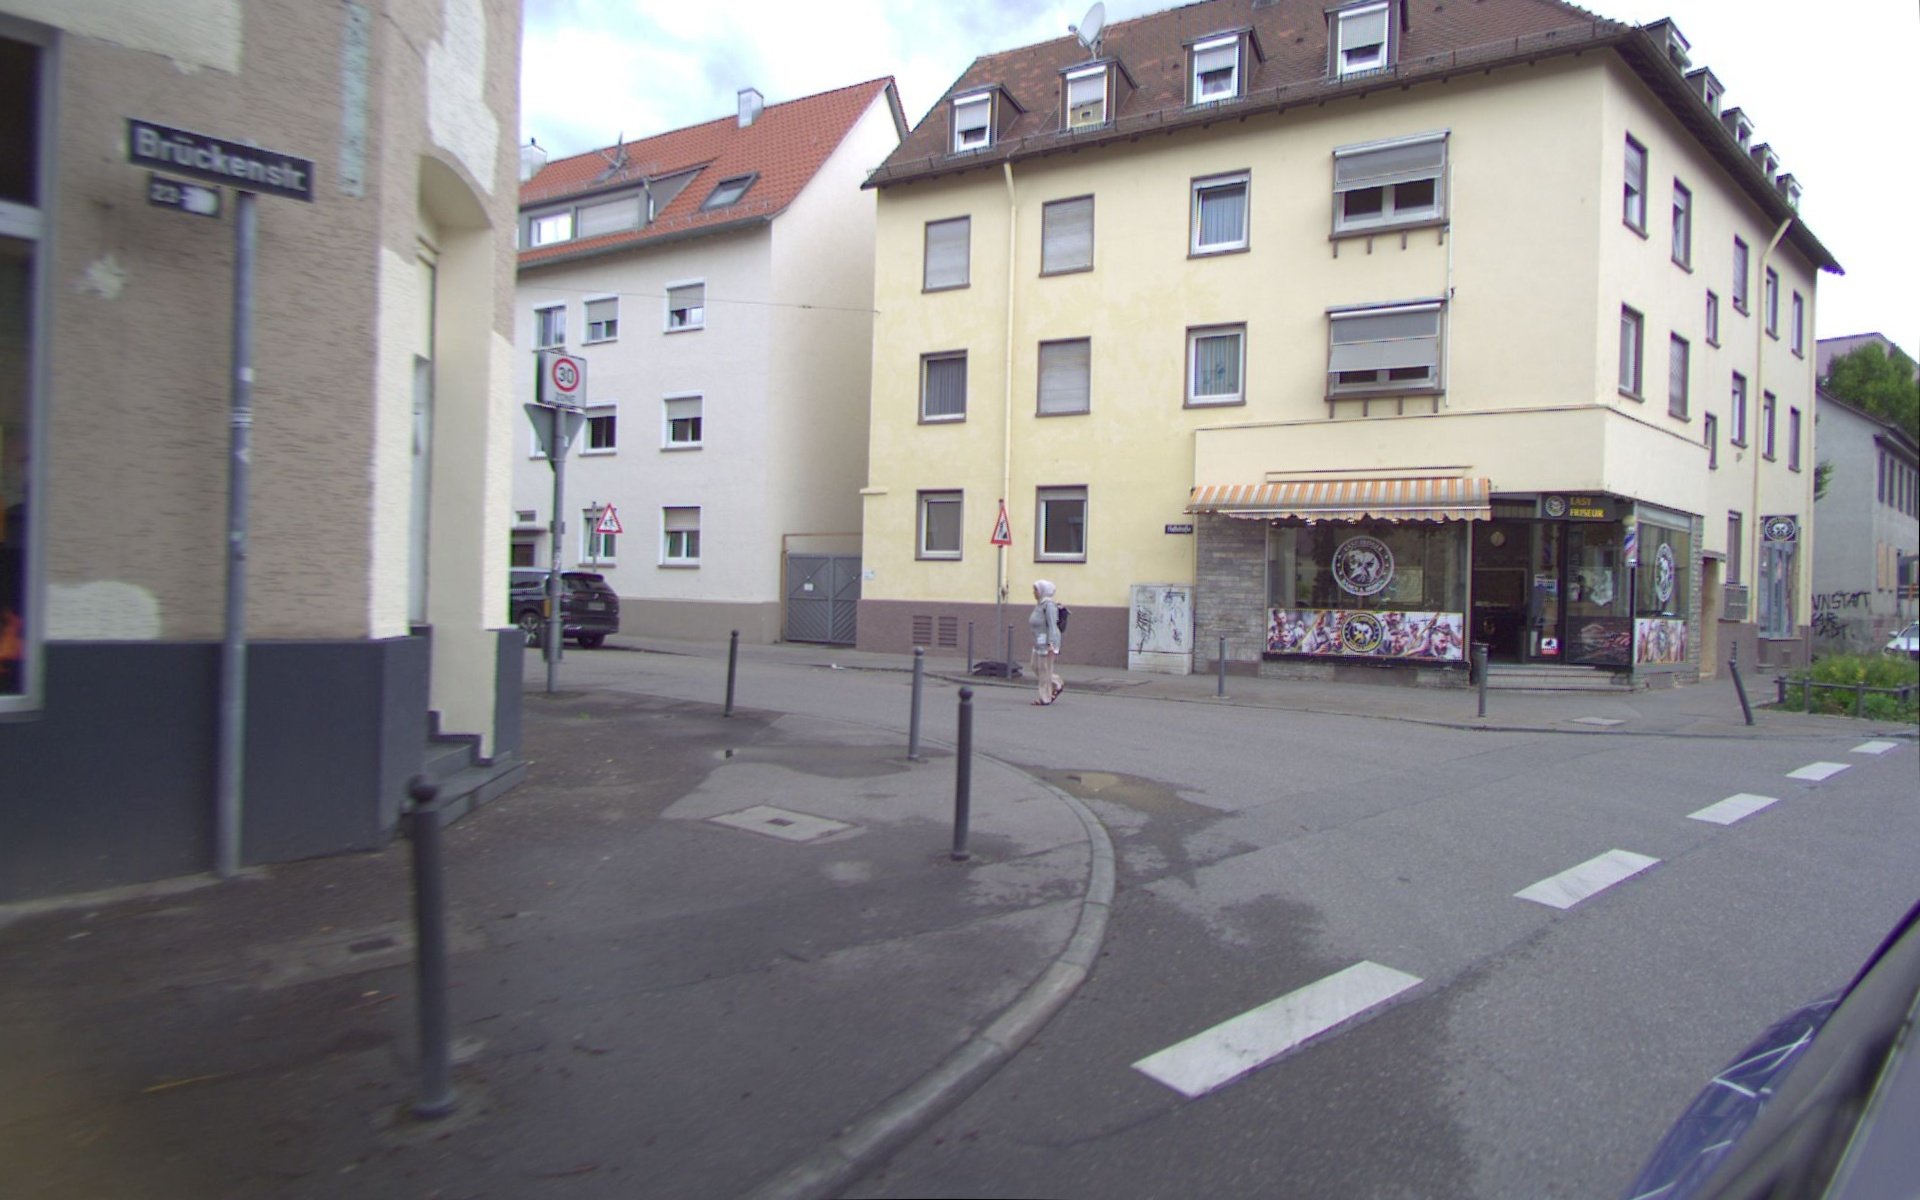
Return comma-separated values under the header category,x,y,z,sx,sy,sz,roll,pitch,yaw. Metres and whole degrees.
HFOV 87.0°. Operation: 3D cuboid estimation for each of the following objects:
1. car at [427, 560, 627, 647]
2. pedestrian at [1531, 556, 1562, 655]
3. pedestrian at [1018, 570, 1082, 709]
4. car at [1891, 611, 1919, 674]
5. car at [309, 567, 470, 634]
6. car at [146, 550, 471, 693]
category,x,y,z,sx,sy,sz,roll,pitch,yaw
car,-9.560,0.067,22.279,4.195,1.703,1.757,2,-2,28
pedestrian,10.789,0.091,18.621,0.391,1.797,0.385,0,0,16
pedestrian,1.148,0.475,12.801,0.666,1.685,0.798,1,1,13
car,25.052,1.059,25.350,4.694,1.484,1.772,1,0,-38
car,-14.014,-0.012,24.858,3.696,1.532,1.757,1,0,28
car,-8.679,0.235,13.437,4.194,1.642,1.868,0,0,29
